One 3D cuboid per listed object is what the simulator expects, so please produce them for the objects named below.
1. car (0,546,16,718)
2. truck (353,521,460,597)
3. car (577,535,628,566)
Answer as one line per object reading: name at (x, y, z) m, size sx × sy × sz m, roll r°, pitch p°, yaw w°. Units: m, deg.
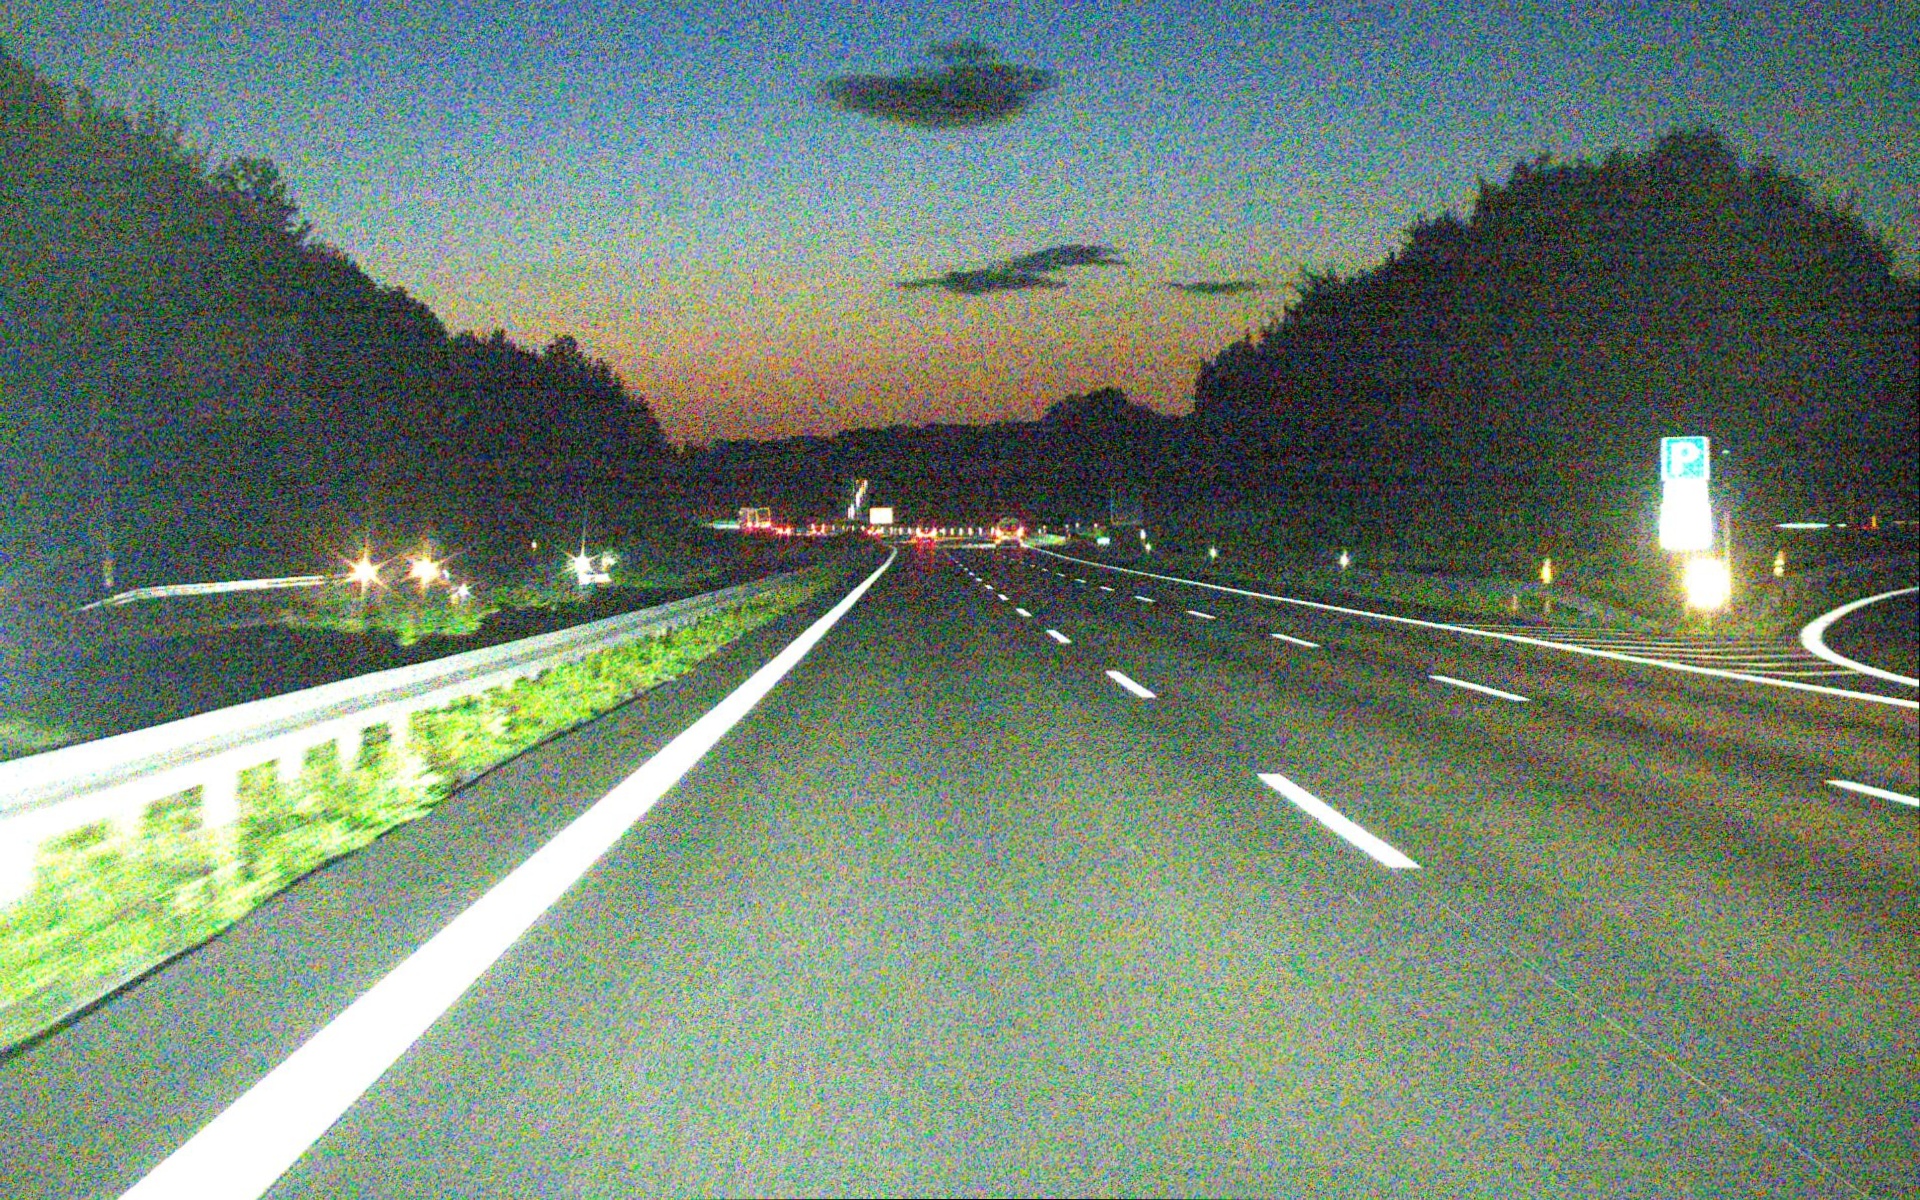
car at (-9.175, 0.349, 27.266) m, size 1.993 × 1.456 × 4.900 m, roll -2°, pitch 1°, yaw 0°
truck at (-14.736, -1.080, 91.831) m, size 1.993 × 1.935 × 5.241 m, roll -1°, pitch 1°, yaw 0°
car at (-18.156, -2.533, 174.800) m, size 1.993 × 1.498 × 5.201 m, roll -2°, pitch 1°, yaw 0°
